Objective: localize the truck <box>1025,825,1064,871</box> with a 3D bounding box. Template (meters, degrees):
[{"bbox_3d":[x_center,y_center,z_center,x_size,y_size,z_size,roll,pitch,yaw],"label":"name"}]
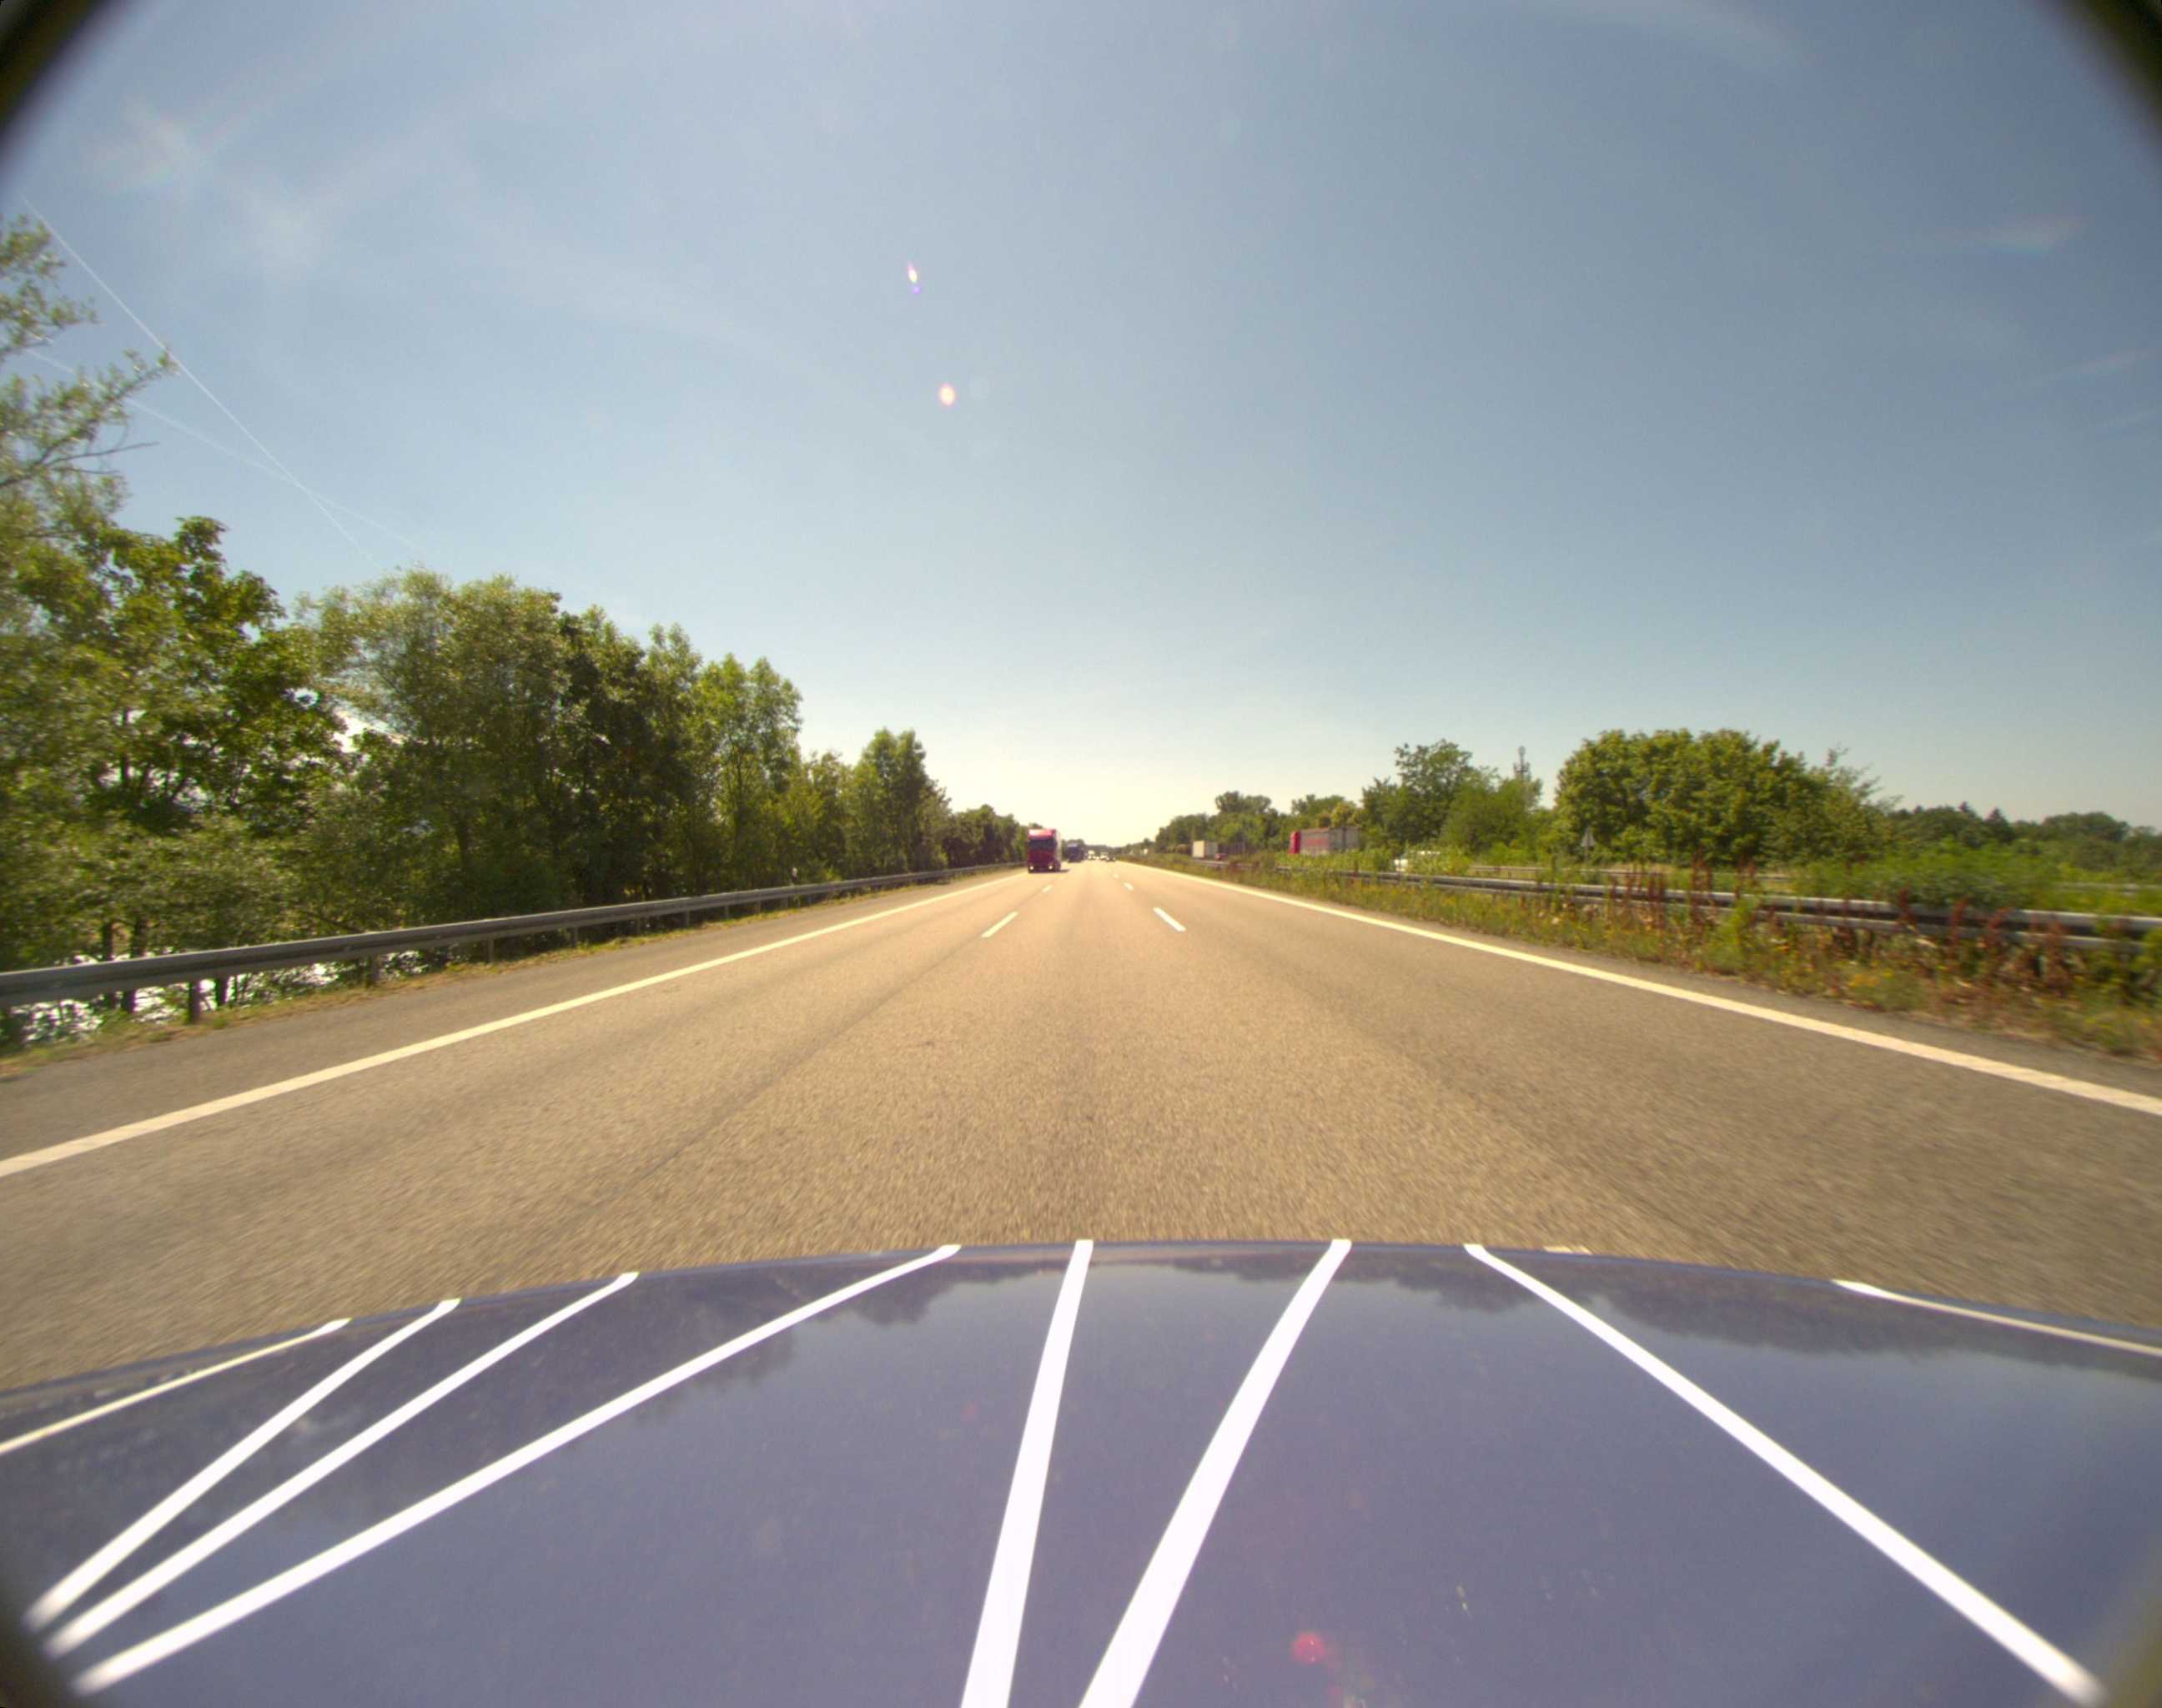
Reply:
[{"bbox_3d":[-3.382,-0.554,72.795,2.938,3.934,10.259,-2,0,1],"label":"truck"}]

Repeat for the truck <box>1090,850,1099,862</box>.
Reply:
[{"bbox_3d":[4.107,0.642,237.637,2.726,3.391,9.769,-2,0,1],"label":"truck"}]

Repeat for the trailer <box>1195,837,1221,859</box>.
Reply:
[{"bbox_3d":[23.556,-1.111,141.714,2.939,3.952,12.321,-2,0,1],"label":"trailer"}]

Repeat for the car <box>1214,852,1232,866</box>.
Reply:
[{"bbox_3d":[19.004,0.686,101.947,1.818,1.712,4.001,-2,0,3],"label":"car"}]

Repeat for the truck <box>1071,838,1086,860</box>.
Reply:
[{"bbox_3d":[-0.472,-1.034,164.197,2.938,4.429,10.259,-2,0,1],"label":"truck"}]

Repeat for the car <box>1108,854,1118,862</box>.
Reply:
[{"bbox_3d":[6.229,0.694,148.660,1.736,1.433,4.000,-2,0,1],"label":"car"}]

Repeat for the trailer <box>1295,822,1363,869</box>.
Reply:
[{"bbox_3d":[22.579,-0.758,69.788,2.939,3.952,10.628,-2,0,2],"label":"trailer"}]

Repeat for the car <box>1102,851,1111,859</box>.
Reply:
[{"bbox_3d":[6.299,0.176,189.848,1.998,2.002,4.756,-2,0,1],"label":"car"}]

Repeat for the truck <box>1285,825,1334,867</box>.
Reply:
[{"bbox_3d":[22.715,-0.761,75.842,2.967,3.952,6.363,-2,0,1],"label":"truck"}]

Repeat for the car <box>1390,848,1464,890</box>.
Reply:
[{"bbox_3d":[18.178,0.741,40.175,1.999,2.002,3.999,-2,0,-1],"label":"car"}]
